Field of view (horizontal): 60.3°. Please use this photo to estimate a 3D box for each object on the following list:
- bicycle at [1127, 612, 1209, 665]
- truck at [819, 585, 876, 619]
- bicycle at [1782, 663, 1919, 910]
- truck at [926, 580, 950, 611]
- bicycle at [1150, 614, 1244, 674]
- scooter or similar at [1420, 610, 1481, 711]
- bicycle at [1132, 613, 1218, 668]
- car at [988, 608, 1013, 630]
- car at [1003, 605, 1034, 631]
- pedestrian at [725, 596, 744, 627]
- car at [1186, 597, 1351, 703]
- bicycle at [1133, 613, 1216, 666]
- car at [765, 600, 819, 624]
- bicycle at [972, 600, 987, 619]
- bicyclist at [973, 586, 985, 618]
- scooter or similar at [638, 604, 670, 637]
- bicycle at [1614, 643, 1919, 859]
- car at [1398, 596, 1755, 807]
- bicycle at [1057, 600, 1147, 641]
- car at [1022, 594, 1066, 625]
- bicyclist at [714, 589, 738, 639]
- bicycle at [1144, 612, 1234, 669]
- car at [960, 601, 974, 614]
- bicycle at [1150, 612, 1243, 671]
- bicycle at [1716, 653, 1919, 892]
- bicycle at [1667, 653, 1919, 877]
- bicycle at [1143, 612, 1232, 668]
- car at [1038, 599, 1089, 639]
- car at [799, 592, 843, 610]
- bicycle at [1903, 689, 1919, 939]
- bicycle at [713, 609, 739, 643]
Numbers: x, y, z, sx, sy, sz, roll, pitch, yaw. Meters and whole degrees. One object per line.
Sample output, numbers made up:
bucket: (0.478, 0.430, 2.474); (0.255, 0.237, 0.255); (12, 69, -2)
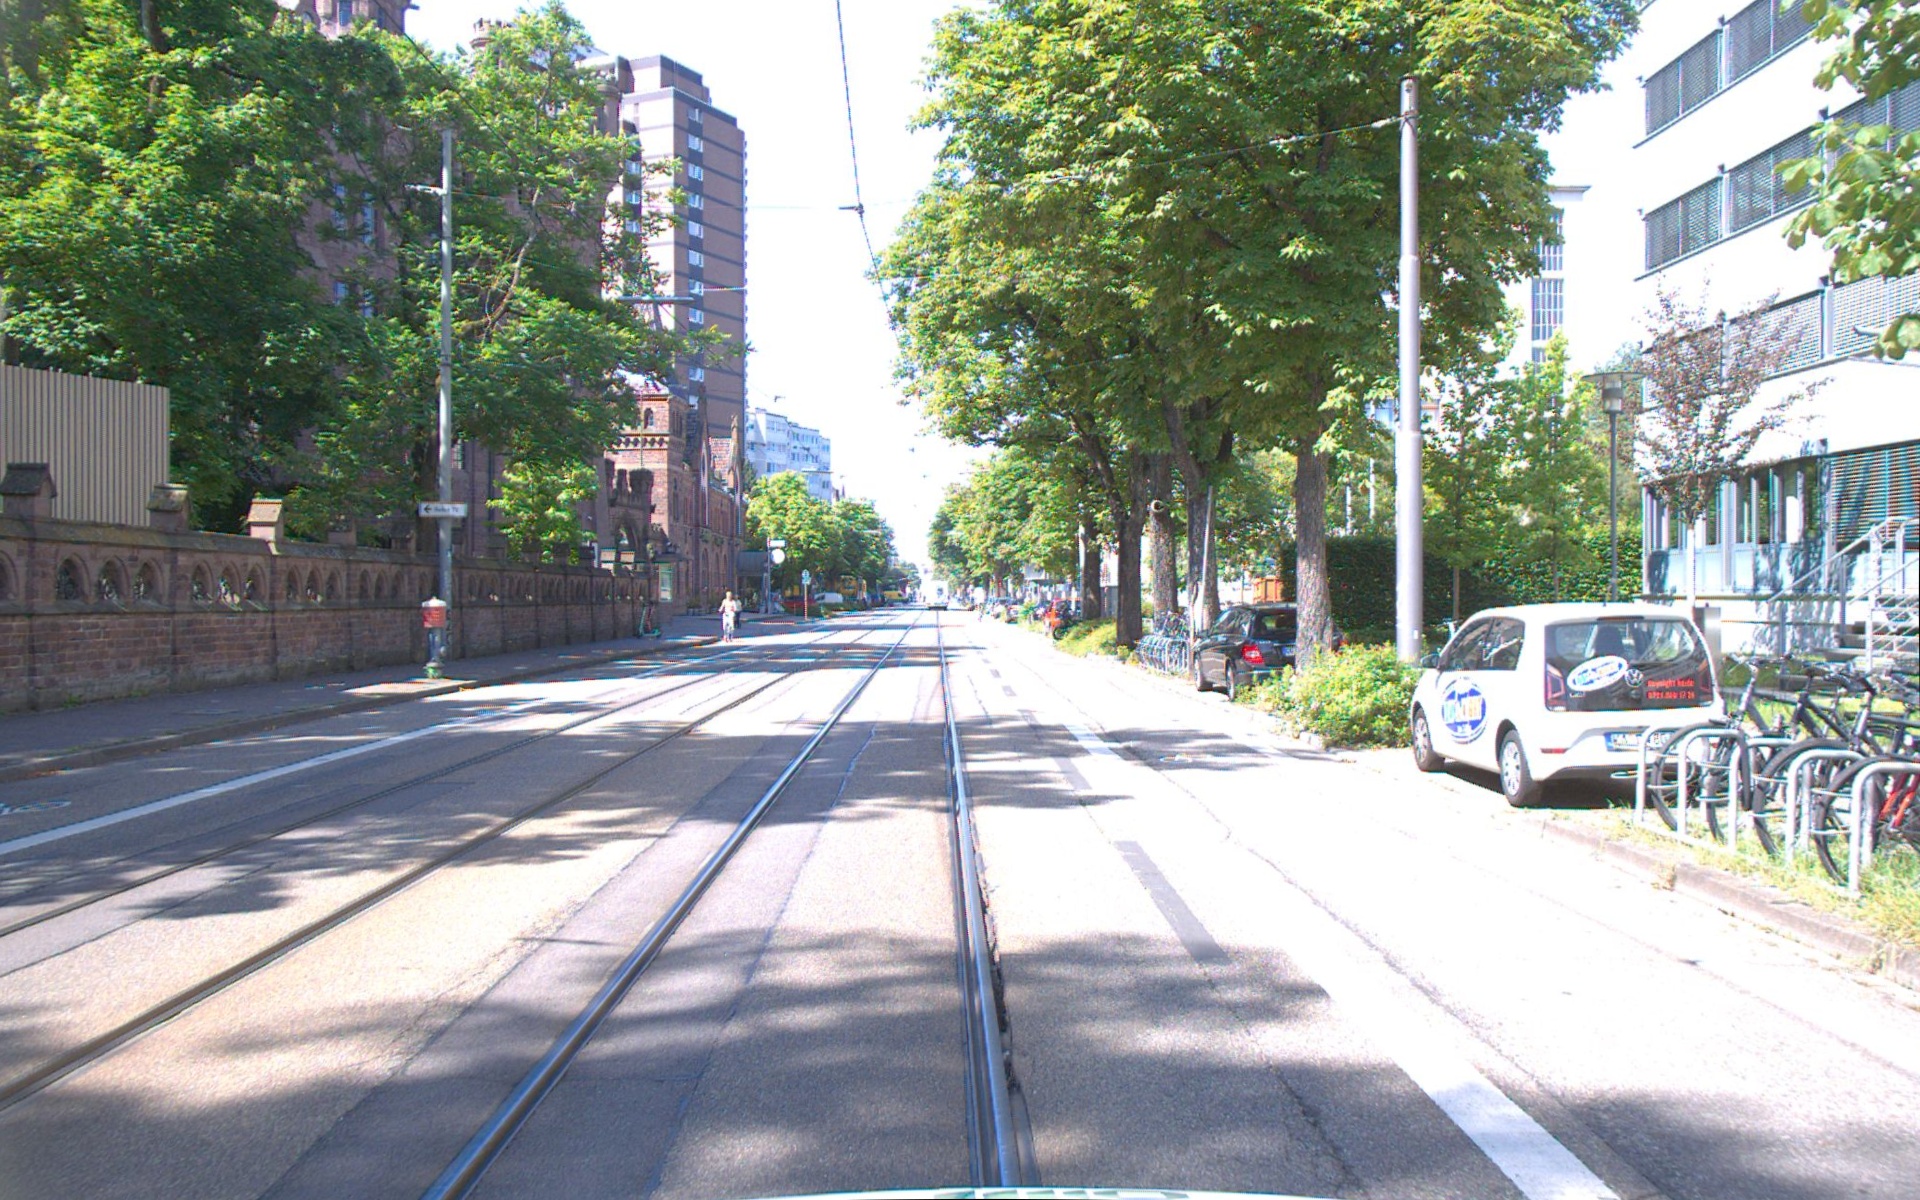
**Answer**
bicycle: (4.465, 0.828, 35.491); (1.689, 1.105, 0.478); (-1, 0, -2)
truck: (-13.114, 0.251, 193.694); (2.755, 3.927, 10.001); (0, 0, 21)
bicycle: (5.065, 0.872, 8.057); (1.756, 1.105, 0.726); (-1, 0, -2)
truck: (-2.299, -0.426, 171.569); (2.353, 3.163, 6.035); (0, 0, -1)
bicycle: (4.499, 0.824, 31.501); (1.689, 1.105, 0.628); (-1, 0, -2)
scooter or similar: (5.978, 0.717, 20.190); (0.393, 1.194, 1.157); (0, 0, 0)
bicycle: (4.476, 0.831, 34.448); (1.689, 1.105, 0.614); (-1, 0, -2)
car: (2.784, 1.296, 114.258); (1.596, 1.498, 4.113); (-1, 0, -1)
car: (3.389, 1.021, 96.381); (1.596, 1.498, 4.113); (0, 0, -1)
pedestrian: (-10.988, 0.559, 80.689); (0.867, 1.538, 1.472); (0, 0, -10)
car: (4.725, 0.709, 25.901); (1.597, 1.509, 4.271); (0, 0, -3)
bicycle: (4.537, 0.835, 35.008); (1.689, 1.105, 0.478); (-1, 0, -2)
car: (-13.377, 0.943, 131.900); (3.959, 1.842, 1.864); (0, 0, -38)
bicycle: (1.162, 0.583, 99.681); (0.838, 1.129, 2.139); (0, 0, -1)
bicyclist: (1.147, 0.131, 99.963); (0.623, 1.904, 1.024); (-1, 0, -2)
scooter or similar: (-10.535, 0.699, 56.982); (0.327, 1.149, 1.181); (-1, -1, 38)
bicycle: (5.020, 0.876, 9.910); (1.865, 1.190, 0.819); (-1, 0, -2)
car: (4.892, 0.734, 13.647); (1.596, 1.498, 3.630); (0, 0, 0)
bicycle: (4.770, 0.687, 55.793); (2.965, 1.355, 1.041); (0, 0, 2)
car: (3.778, 0.416, 74.707); (1.597, 1.378, 3.899); (-1, 0, -3)
bicyclist: (-8.313, 0.495, 58.848); (0.710, 1.728, 1.146); (0, 0, -2)
bicycle: (4.537, 0.795, 32.801); (1.689, 1.105, 0.570); (-1, 0, -2)
car: (0.869, 0.913, 201.097); (1.596, 1.596, 4.113); (-1, 0, -1)
bicycle: (4.591, 0.806, 32.162); (1.689, 1.105, 0.696); (-1, 0, -2)
bicycle: (4.984, 0.866, 8.584); (1.811, 1.152, 0.680); (-1, 0, -2)
bicycle: (5.026, 0.896, 9.263); (1.835, 1.161, 0.686); (-1, 0, -2)
bicycle: (4.583, 0.798, 33.397); (1.689, 1.105, 0.589); (-1, 0, -2)
car: (4.043, 0.725, 64.854); (1.597, 1.498, 3.717); (-1, 0, -3)
car: (-13.897, 0.113, 164.924); (3.947, 1.780, 1.979); (0, 0, -32)
bicycle: (5.114, 0.945, 7.171); (1.689, 1.105, 0.639); (-1, 0, -2)
bicycle: (-8.322, 0.923, 58.922); (0.649, 1.174, 2.013); (0, 0, 0)
